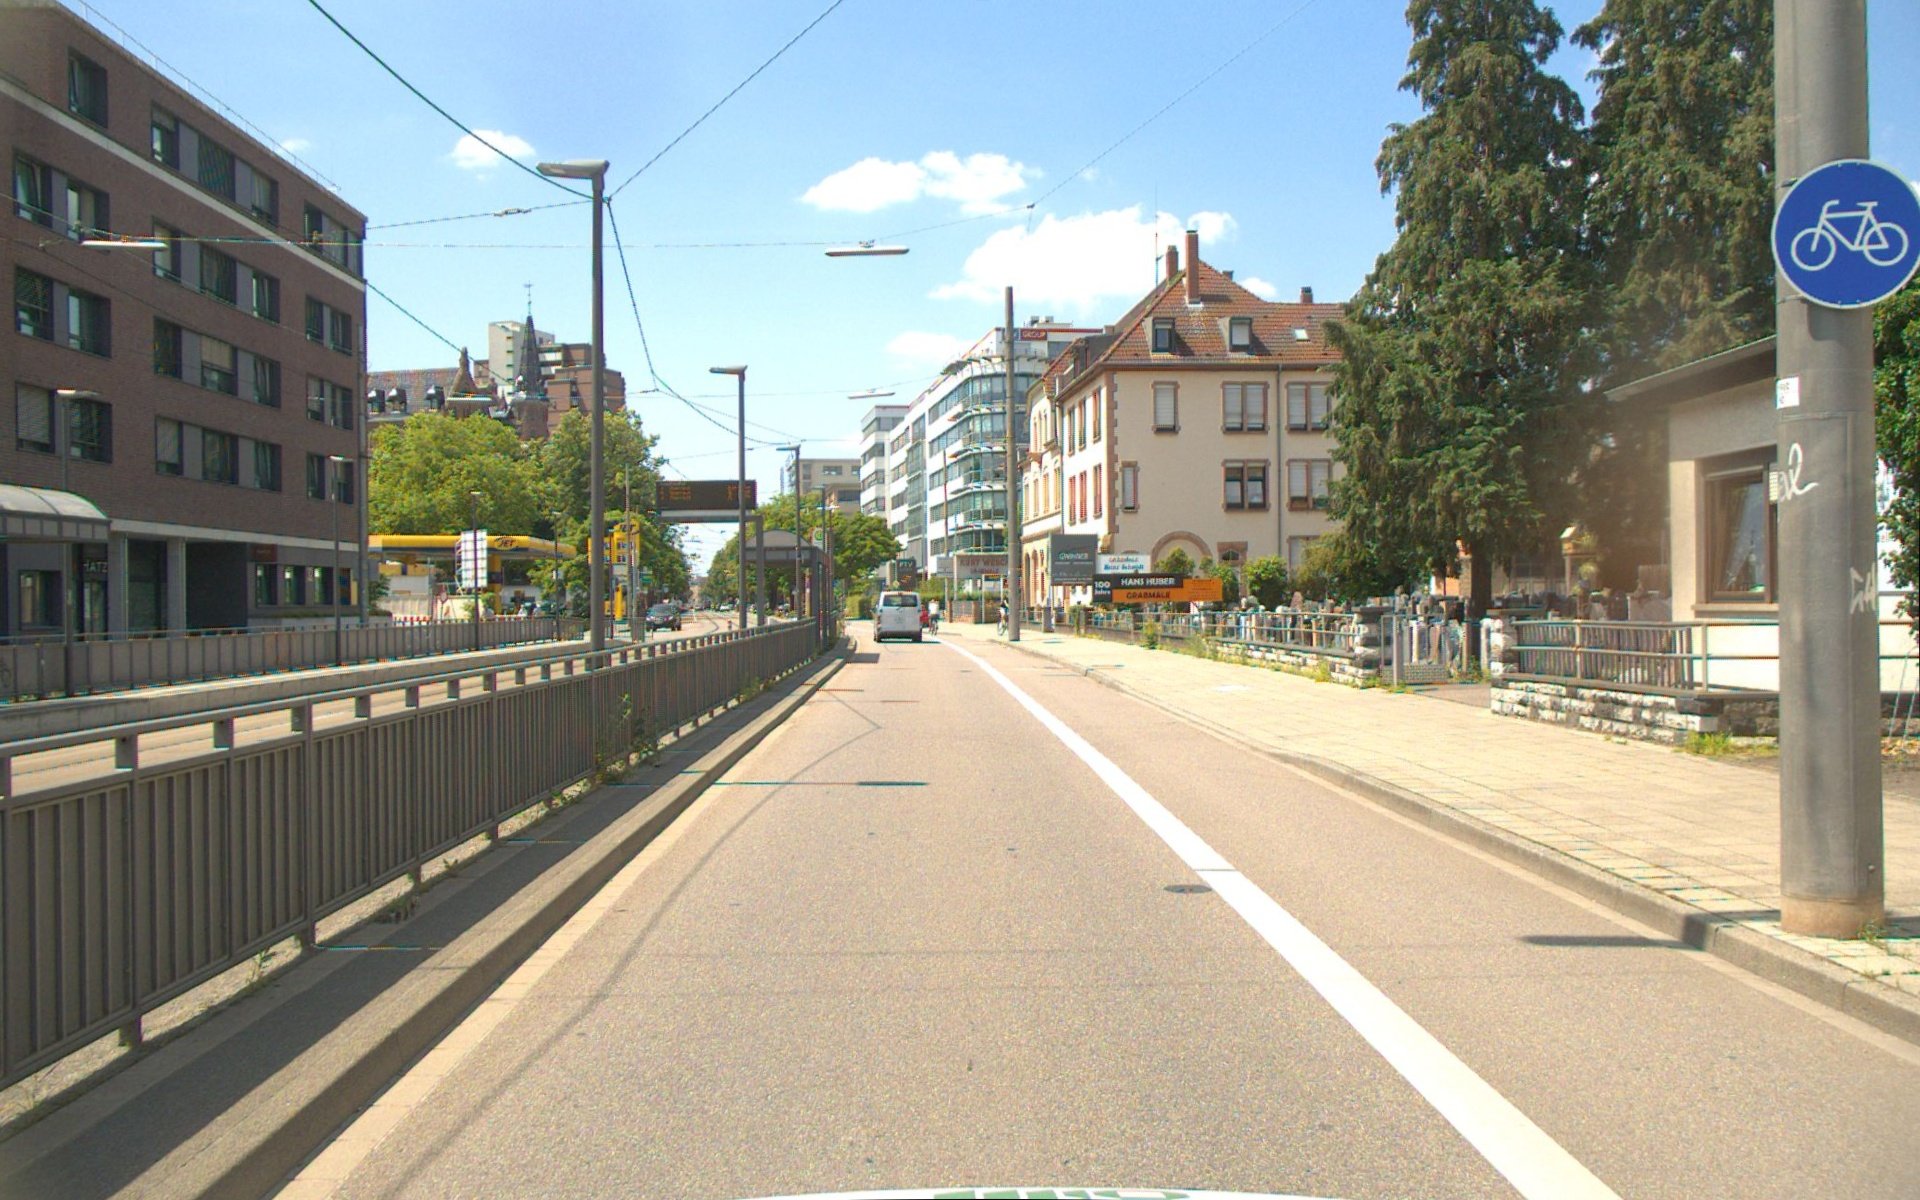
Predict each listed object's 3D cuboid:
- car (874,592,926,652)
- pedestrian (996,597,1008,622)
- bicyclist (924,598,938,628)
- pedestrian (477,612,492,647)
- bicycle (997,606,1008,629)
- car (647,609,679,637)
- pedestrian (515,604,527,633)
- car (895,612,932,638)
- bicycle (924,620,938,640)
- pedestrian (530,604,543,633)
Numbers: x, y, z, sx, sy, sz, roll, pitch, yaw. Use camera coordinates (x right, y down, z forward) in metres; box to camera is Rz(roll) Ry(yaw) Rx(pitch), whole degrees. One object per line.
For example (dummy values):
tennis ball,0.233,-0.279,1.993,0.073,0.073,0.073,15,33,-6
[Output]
car,-2.245,0.783,61.473,1.718,2.048,3.997,-2,1,-4
pedestrian,1.825,0.411,72.090,0.473,1.072,0.536,-3,-1,-1
bicyclist,-1.376,0.609,78.384,0.580,1.421,0.840,-1,0,-7
pedestrian,-19.986,1.241,69.498,0.426,1.408,0.535,-3,-1,-2
bicycle,1.846,0.763,72.054,0.349,0.956,1.317,-3,-1,-1
car,-18.244,1.409,101.776,1.665,1.644,3.753,-1,0,-6
pedestrian,-26.181,1.094,98.684,0.541,1.687,0.672,-1,0,-2
car,-2.902,1.557,102.725,1.681,1.478,4.064,-3,0,-9
bicycle,-1.370,1.400,78.463,0.457,0.903,2.045,-1,0,-6
pedestrian,-25.515,1.119,99.637,0.568,1.700,0.667,-1,-1,-1
